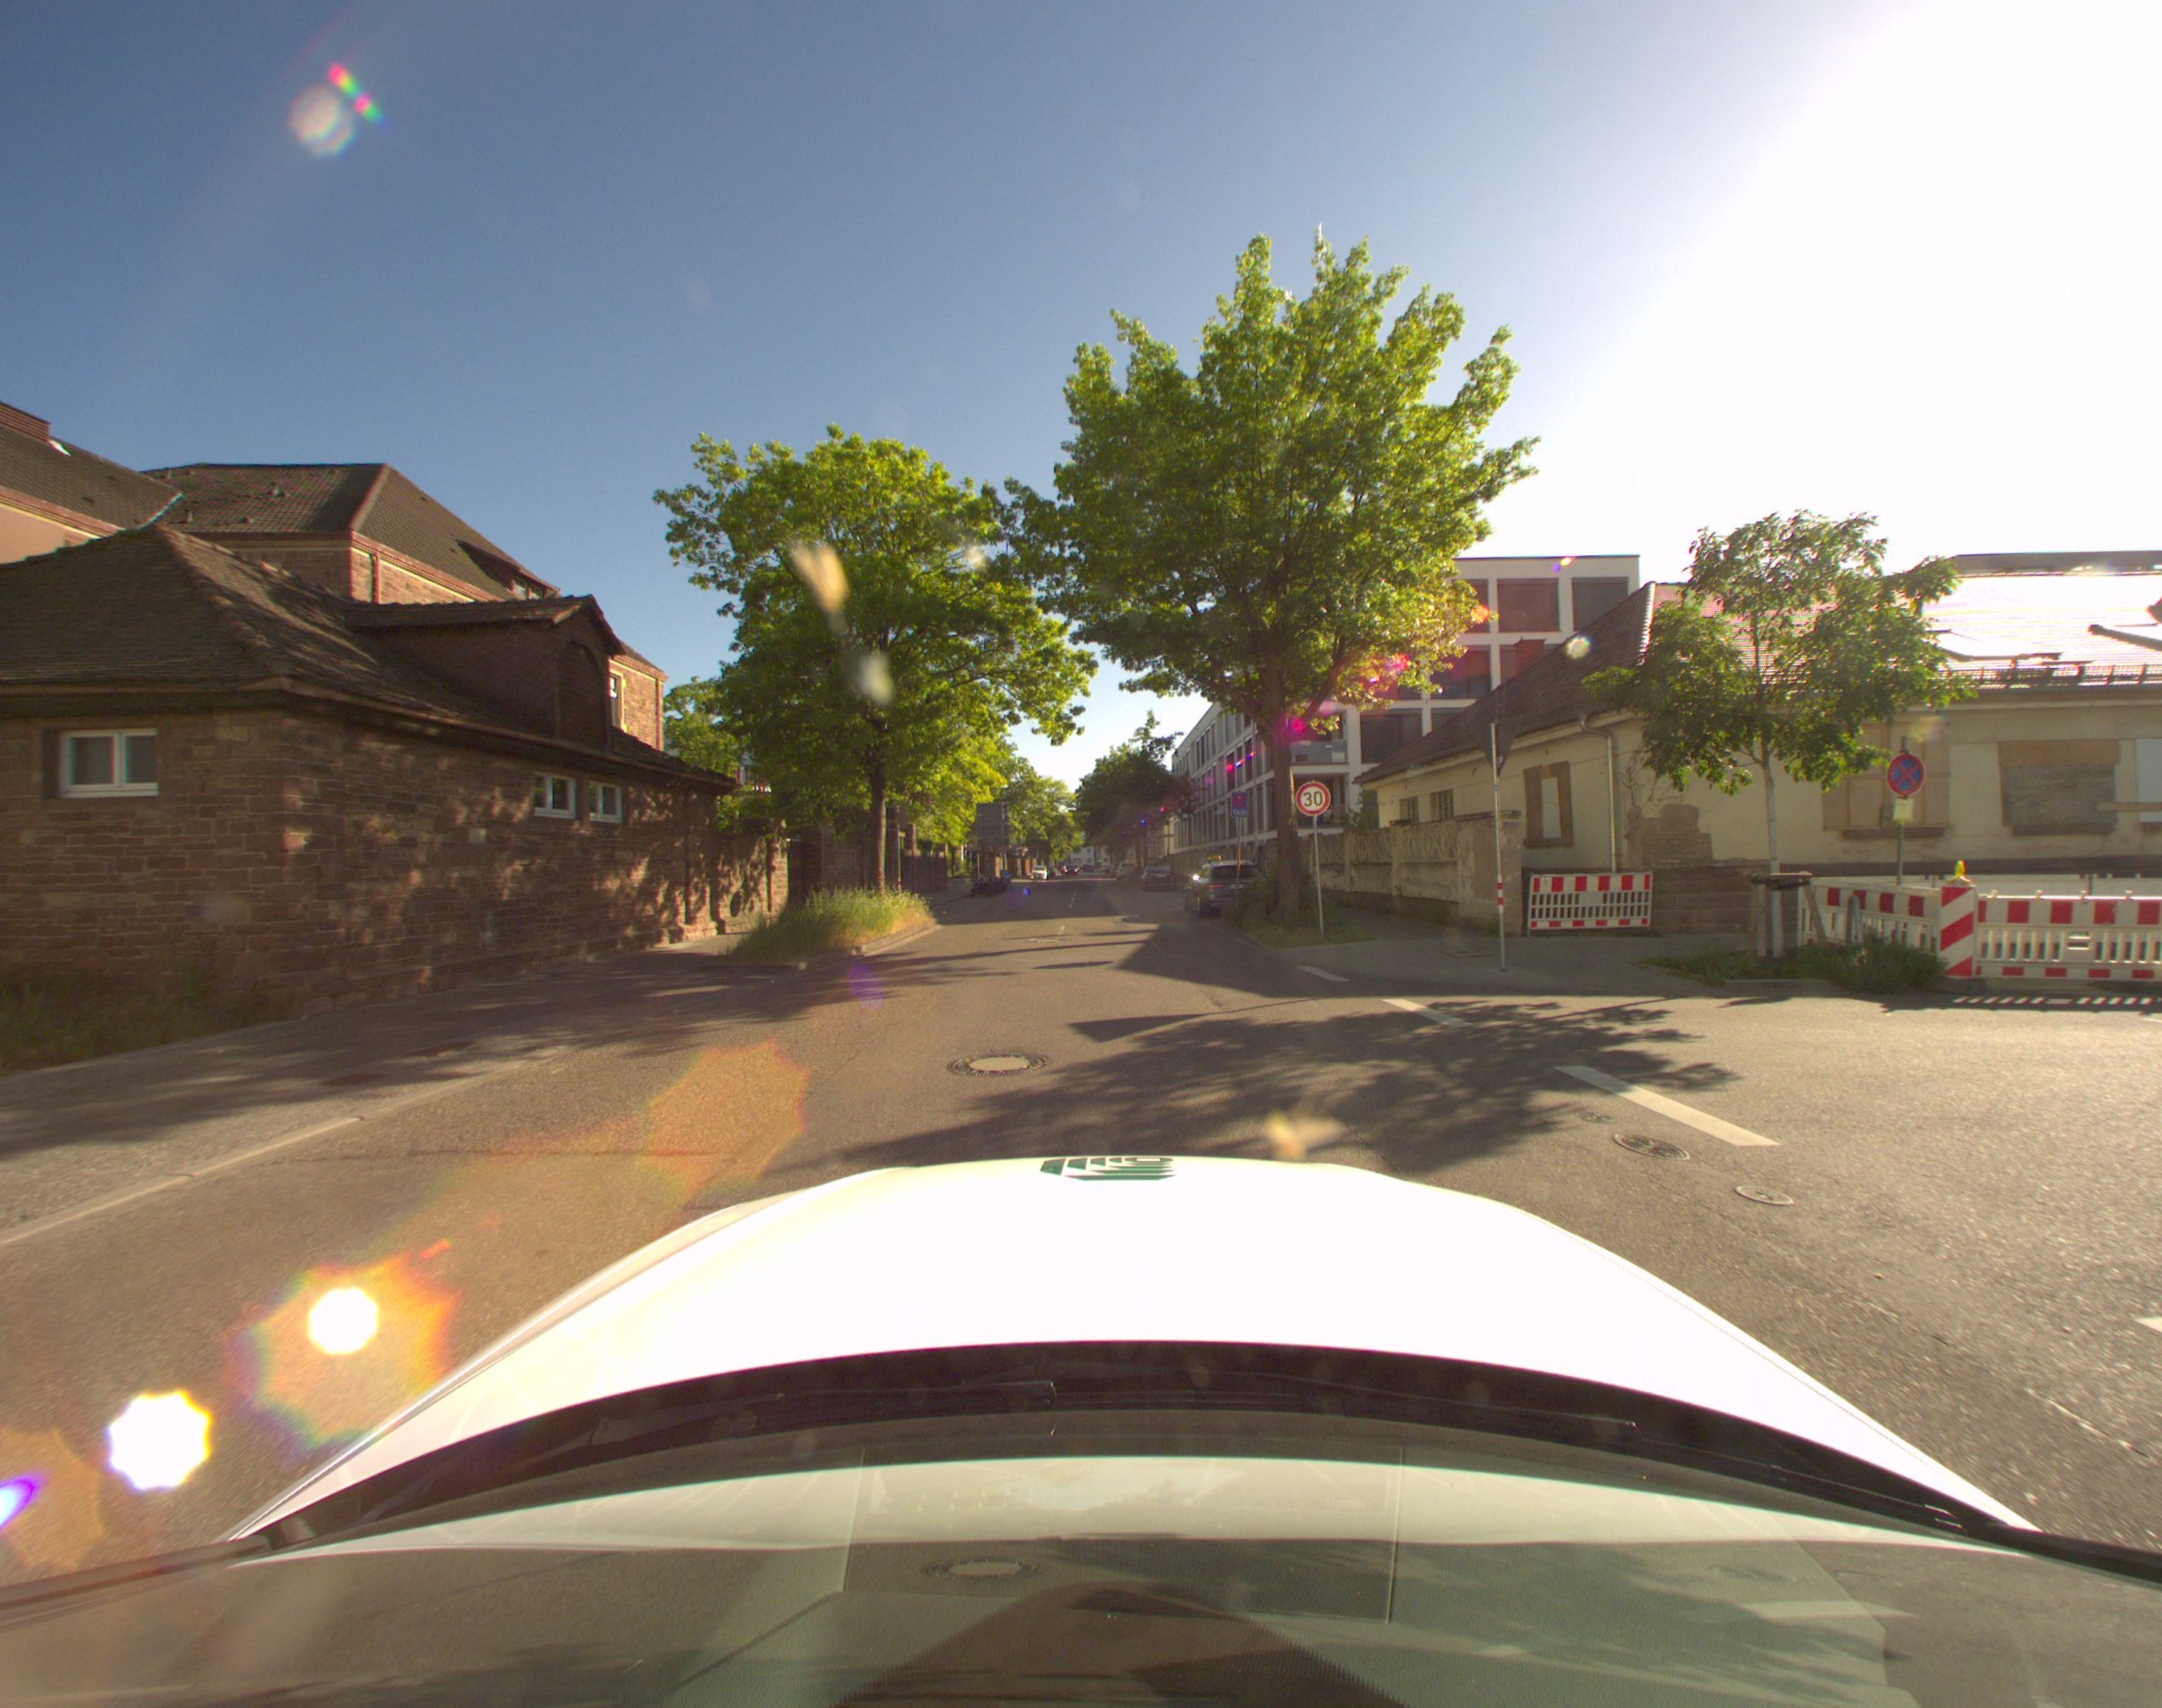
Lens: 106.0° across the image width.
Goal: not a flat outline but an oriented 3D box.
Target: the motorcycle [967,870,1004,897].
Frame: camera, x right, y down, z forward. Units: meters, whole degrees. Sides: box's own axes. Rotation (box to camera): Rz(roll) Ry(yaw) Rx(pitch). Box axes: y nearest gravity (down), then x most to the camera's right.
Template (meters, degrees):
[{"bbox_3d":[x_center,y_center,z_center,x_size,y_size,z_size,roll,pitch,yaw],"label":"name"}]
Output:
[{"bbox_3d":[-4.773,1.451,40.792,0.570,1.276,2.135,-2,-1,33],"label":"motorcycle"}]

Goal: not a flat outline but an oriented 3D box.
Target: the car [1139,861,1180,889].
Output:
[{"bbox_3d":[4.205,1.117,44.374,1.762,1.440,3.998,-2,-1,-1],"label":"car"}]

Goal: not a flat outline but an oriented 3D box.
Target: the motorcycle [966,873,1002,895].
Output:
[{"bbox_3d":[-5.002,1.532,41.983,0.570,1.074,2.135,-2,-1,33],"label":"motorcycle"}]

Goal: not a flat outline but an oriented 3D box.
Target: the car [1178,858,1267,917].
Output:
[{"bbox_3d":[3.878,0.872,23.077,1.698,1.468,4.788,-1,-1,0],"label":"car"}]

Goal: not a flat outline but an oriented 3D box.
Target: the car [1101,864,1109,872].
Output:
[{"bbox_3d":[4.521,2.648,154.188,1.580,1.400,3.837,-1,-1,1],"label":"car"}]

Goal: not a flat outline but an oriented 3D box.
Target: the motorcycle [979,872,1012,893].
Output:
[{"bbox_3d":[-4.718,1.552,45.049,0.570,1.074,2.135,-2,-1,33],"label":"motorcycle"}]

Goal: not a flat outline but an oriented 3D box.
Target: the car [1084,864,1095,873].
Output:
[{"bbox_3d":[1.585,2.716,155.293,1.763,1.548,4.062,-1,-1,-2],"label":"car"}]

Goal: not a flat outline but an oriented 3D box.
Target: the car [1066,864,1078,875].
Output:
[{"bbox_3d":[-1.314,2.239,117.125,1.648,1.530,3.999,-1,-1,0],"label":"car"}]

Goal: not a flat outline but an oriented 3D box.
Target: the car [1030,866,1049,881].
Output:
[{"bbox_3d":[-4.332,2.018,85.142,1.762,1.487,3.998,-2,-1,-1],"label":"car"}]

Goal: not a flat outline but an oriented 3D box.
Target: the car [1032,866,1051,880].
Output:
[{"bbox_3d":[-4.357,2.139,91.192,1.901,1.530,3.999,-1,-1,0],"label":"car"}]

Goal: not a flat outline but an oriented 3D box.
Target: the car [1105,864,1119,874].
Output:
[{"bbox_3d":[4.538,2.219,120.002,1.986,1.425,3.837,-1,-1,1],"label":"car"}]

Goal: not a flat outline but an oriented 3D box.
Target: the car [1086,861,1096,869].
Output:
[{"bbox_3d":[1.876,2.083,155.174,1.882,1.400,3.837,-1,-1,1],"label":"car"}]

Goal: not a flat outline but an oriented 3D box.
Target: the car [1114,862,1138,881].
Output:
[{"bbox_3d":[4.002,1.573,73.099,1.943,1.578,3.837,-1,-1,1],"label":"car"}]

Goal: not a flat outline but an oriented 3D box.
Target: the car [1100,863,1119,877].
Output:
[{"bbox_3d":[3.131,1.728,88.839,1.986,1.465,3.837,-1,-1,1],"label":"car"}]
